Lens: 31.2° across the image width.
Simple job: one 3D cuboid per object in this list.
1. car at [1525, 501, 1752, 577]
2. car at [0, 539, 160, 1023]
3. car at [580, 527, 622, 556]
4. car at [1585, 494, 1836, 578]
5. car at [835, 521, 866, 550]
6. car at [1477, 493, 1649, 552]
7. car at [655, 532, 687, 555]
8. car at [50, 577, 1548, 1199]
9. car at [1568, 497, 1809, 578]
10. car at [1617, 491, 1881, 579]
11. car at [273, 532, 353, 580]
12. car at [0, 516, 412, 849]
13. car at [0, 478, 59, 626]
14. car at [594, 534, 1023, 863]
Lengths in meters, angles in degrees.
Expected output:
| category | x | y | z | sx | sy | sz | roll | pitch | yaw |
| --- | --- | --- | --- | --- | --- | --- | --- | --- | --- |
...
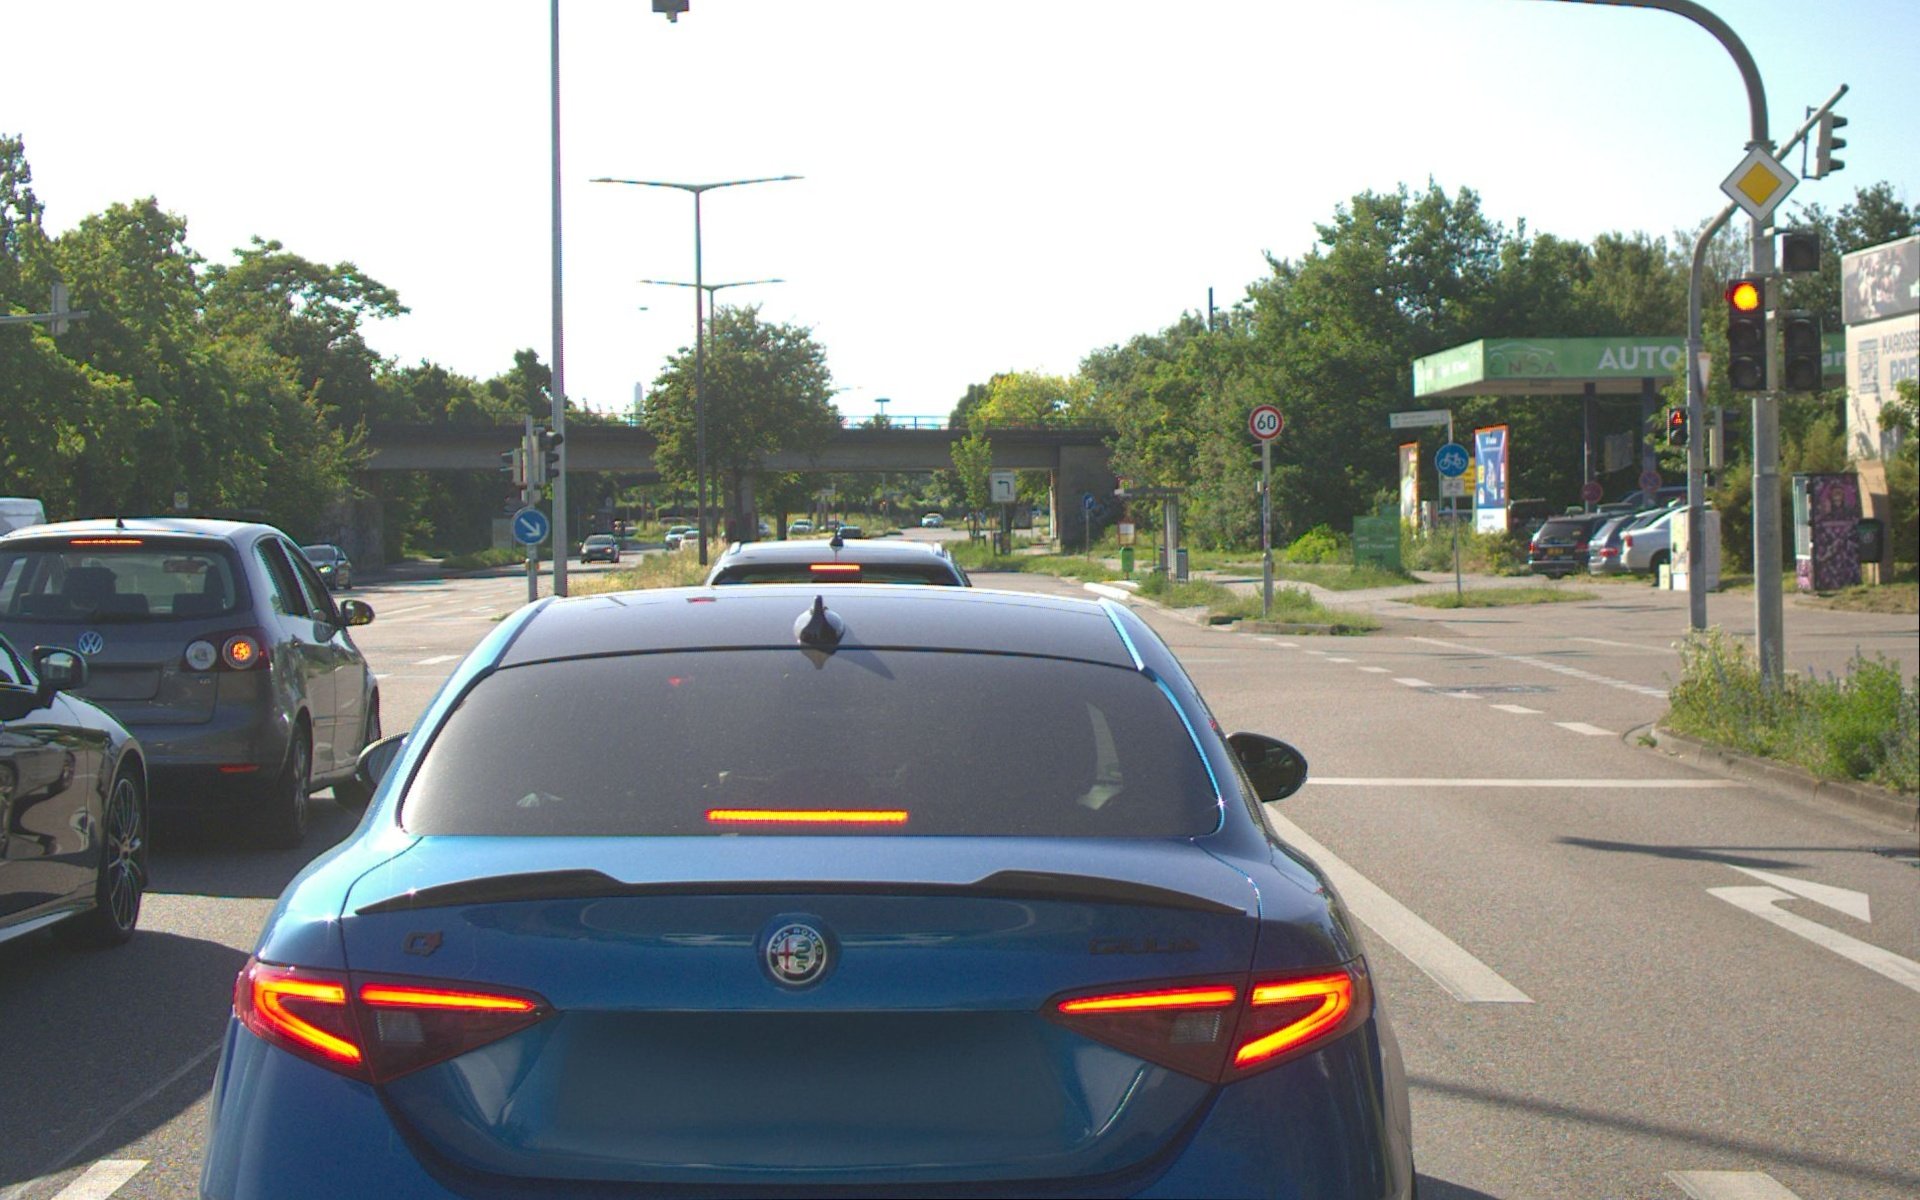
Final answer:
| category | x | y | z | sx | sy | sz | roll | pitch | yaw |
| --- | --- | --- | --- | --- | --- | --- | --- | --- | --- |
| car | 14.592 | -1.312 | 74.124 | 4.489 | 1.449 | 1.858 | -2 | 1 | 1 |
| car | -3.834 | 0.542 | 10.589 | 1.796 | 1.485 | 4.476 | 1 | 1 | -2 |
| car | -18.952 | -3.082 | 181.692 | 1.759 | 1.485 | 4.478 | -2 | 1 | 0 |
| car | 14.656 | -1.247 | 67.319 | 4.489 | 1.449 | 1.858 | -2 | 1 | 1 |
| car | -6.894 | -4.071 | 216.906 | 1.891 | 1.809 | 4.000 | 1 | 1 | -1 |
| car | 17.042 | -2.193 | 97.287 | 4.551 | 1.485 | 1.765 | -2 | 1 | 1 |
| car | -19.426 | -3.803 | 231.318 | 1.759 | 1.485 | 4.478 | -2 | 1 | 0 |
| car | -0.268 | 0.683 | 6.578 | 1.895 | 1.413 | 4.403 | 1 | 1 | -2 |
| car | 14.812 | -1.264 | 70.073 | 4.489 | 1.449 | 1.858 | -2 | 1 | 1 |
| car | 14.772 | -1.209 | 64.540 | 4.489 | 1.449 | 1.858 | -2 | 1 | 1 |
| car | -21.215 | -1.441 | 112.904 | 1.759 | 1.485 | 4.478 | -2 | 1 | 0 |
| car | -3.999 | 0.349 | 17.688 | 1.759 | 1.485 | 4.403 | 1 | 1 | -2 |
| car | -16.762 | -0.740 | 57.084 | 2.022 | 2.439 | 5.822 | -4 | 1 | -1 |
| car | -0.723 | 0.407 | 17.212 | 1.850 | 1.413 | 4.403 | 1 | 1 | -2 |
